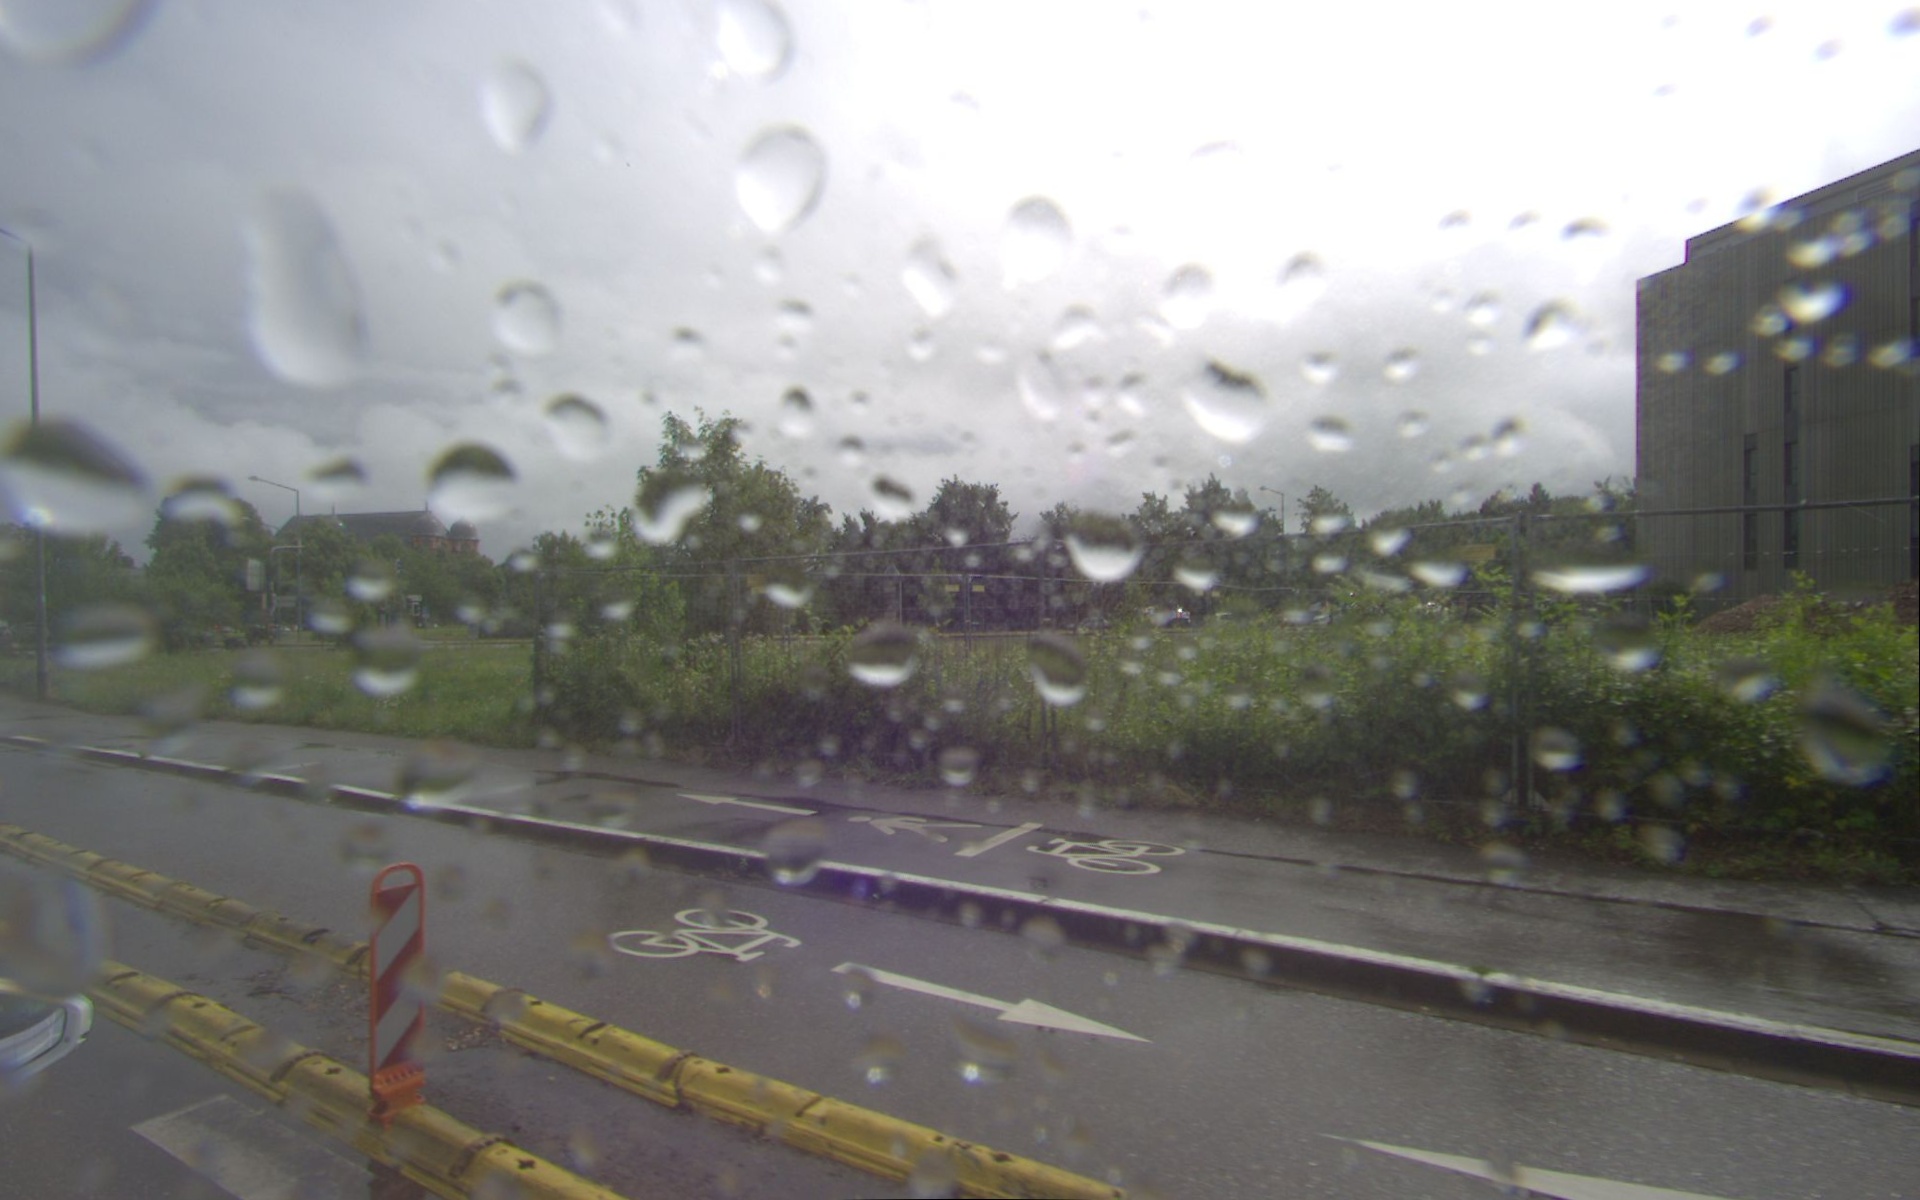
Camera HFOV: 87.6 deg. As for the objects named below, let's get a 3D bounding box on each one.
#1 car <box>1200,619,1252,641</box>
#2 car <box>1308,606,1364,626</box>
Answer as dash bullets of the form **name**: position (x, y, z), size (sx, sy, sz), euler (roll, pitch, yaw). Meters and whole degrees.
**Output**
- **car**: position (20.176, 2.264, 76.064), size (3.463, 1.567, 1.630), euler (0, 0, -10)
- **car**: position (36.042, 1.519, 96.057), size (4.875, 1.944, 1.996), euler (0, -1, -19)
